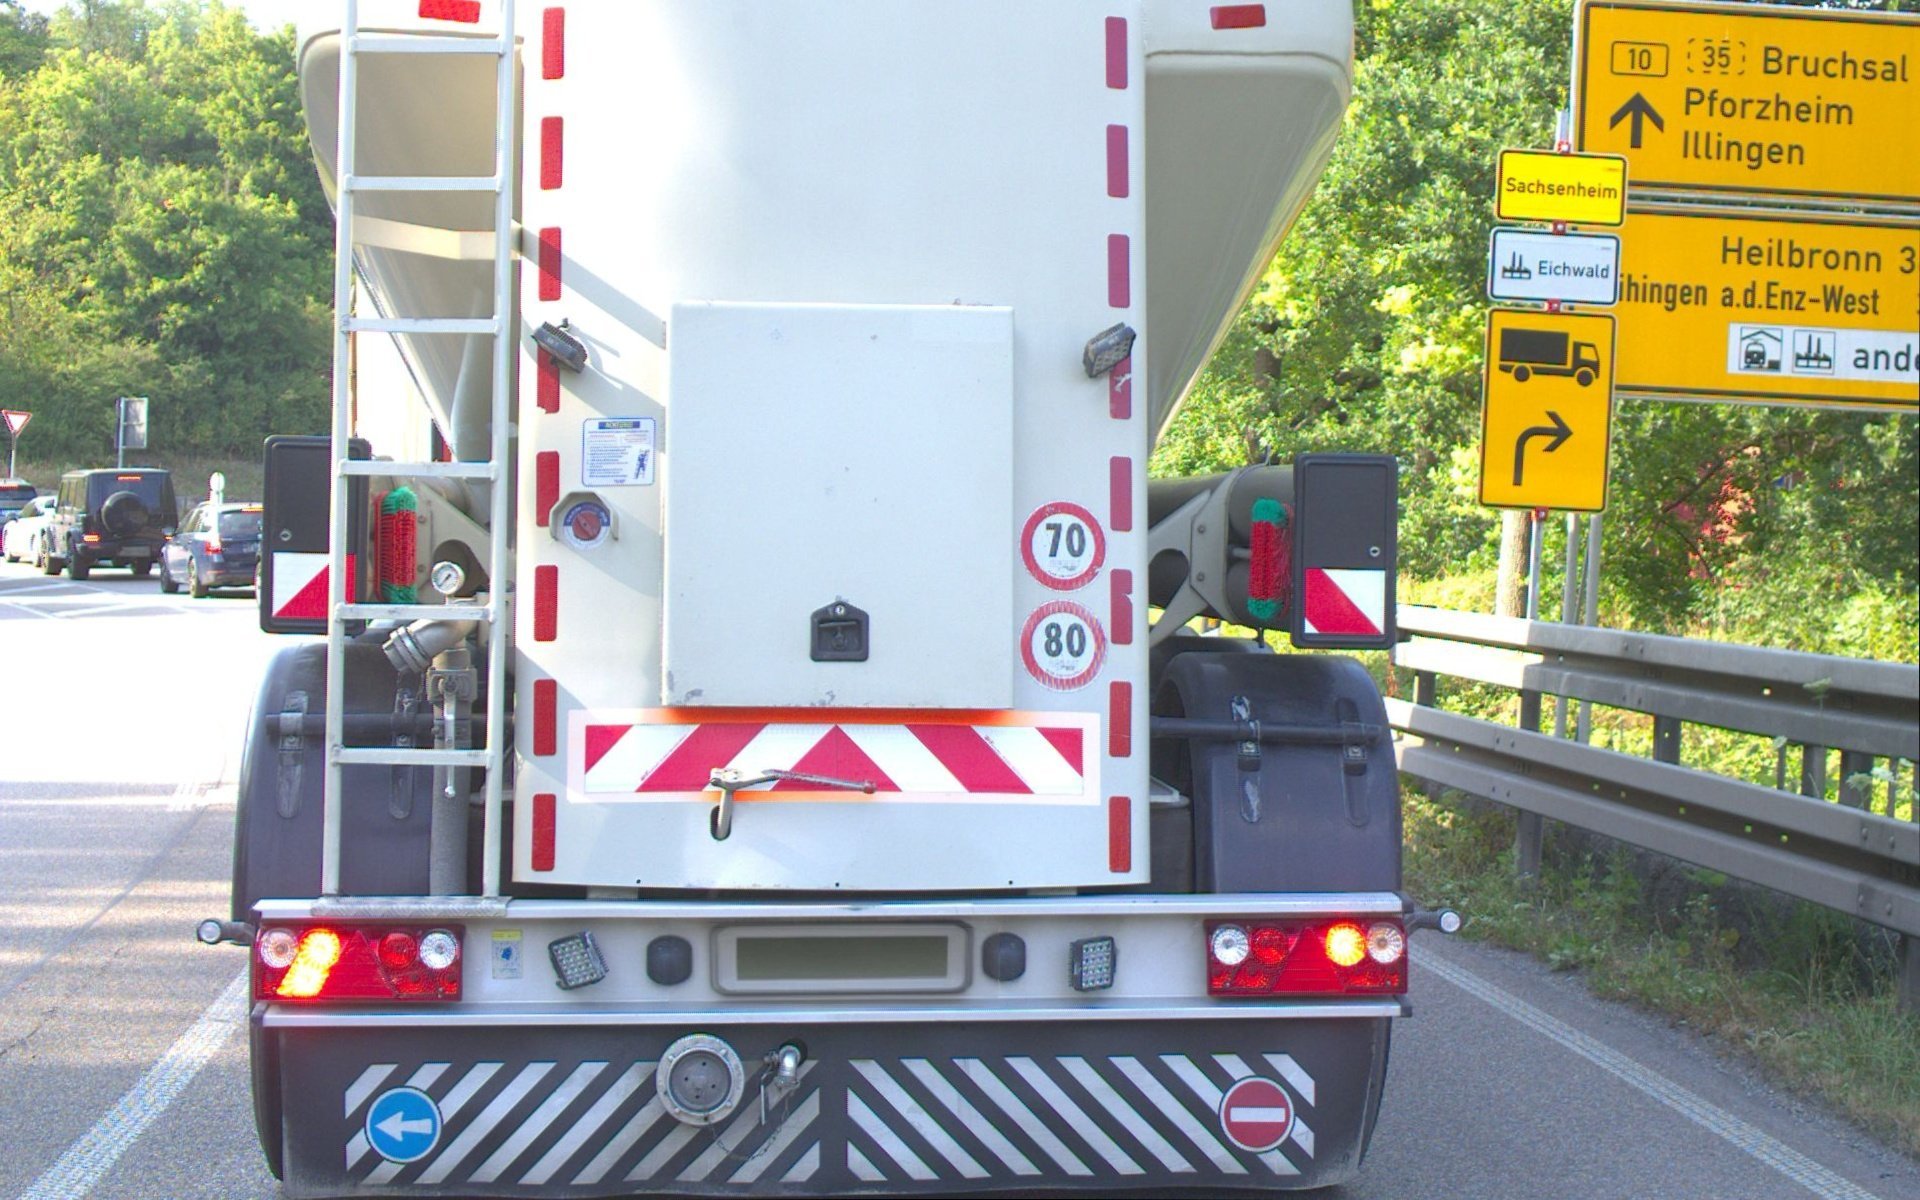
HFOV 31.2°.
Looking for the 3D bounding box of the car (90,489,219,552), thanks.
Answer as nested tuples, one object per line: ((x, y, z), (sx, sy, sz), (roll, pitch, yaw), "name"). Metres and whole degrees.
((-26.115, -2.569, 111.461), (3.985, 1.845, 1.874), (2, 1, -13), "car")

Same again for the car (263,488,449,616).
((-8.117, -0.683, 45.936), (1.867, 1.622, 4.002), (-1, 2, -18), "car")

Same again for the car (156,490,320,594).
((-11.347, -0.942, 53.892), (1.867, 1.559, 4.001), (-1, 2, -21), "car")

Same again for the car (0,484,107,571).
((-19.055, -1.523, 70.989), (1.867, 1.677, 4.001), (2, 1, -27), "car")

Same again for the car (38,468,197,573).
((-15.341, -1.482, 62.479), (1.956, 1.845, 4.001), (-1, 2, -26), "car")

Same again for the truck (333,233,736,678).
((-4.576, -1.404, 35.607), (3.449, 4.072, 6.493), (2, 1, -12), "truck")

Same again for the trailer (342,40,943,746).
((-3.199, -1.447, 28.918), (3.544, 4.497, 12.988), (2, 1, -11), "trailer")

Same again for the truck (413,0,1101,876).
((-1.195, -0.919, 17.281), (2.823, 4.021, 5.896), (1, 1, -7), "truck")

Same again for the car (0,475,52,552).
((-21.335, -1.942, 75.414), (1.867, 1.589, 4.001), (2, 1, -27), "car")

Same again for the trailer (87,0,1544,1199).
((-0.644, -0.990, 11.676), (2.886, 4.439, 9.607), (1, 1, -5), "trailer")
